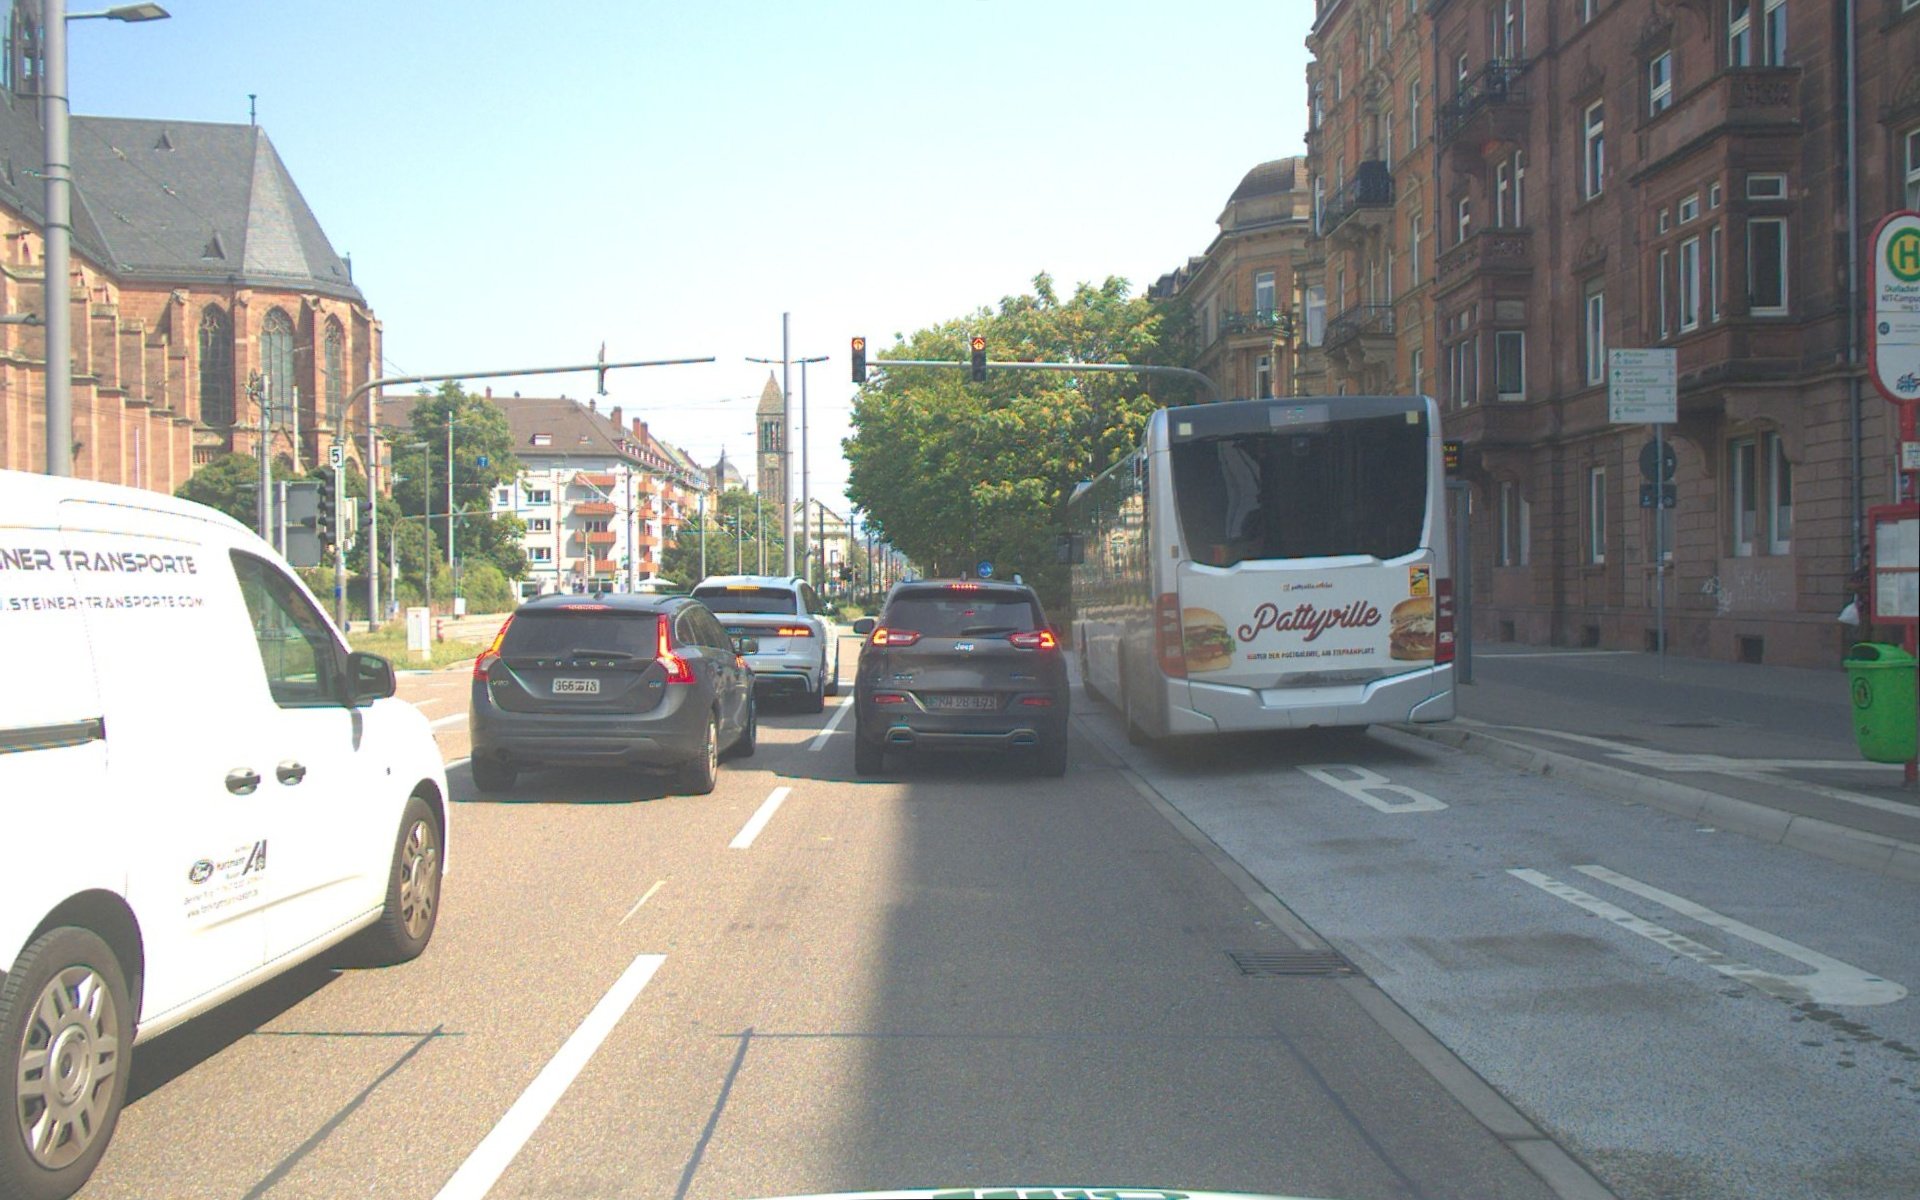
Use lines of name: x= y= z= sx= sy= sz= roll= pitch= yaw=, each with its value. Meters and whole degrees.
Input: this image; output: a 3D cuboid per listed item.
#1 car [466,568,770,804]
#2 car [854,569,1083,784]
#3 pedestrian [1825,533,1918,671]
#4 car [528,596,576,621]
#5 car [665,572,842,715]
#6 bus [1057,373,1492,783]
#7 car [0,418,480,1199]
car: x=-2.646 y=0.592 z=13.748 sx=1.712 sy=1.642 sz=4.307 roll=0 pitch=0 yaw=-1
car: x=0.057 y=0.589 z=15.235 sx=1.795 sy=1.680 sz=4.308 roll=1 pitch=0 yaw=0
pedestrian: x=12.237 y=0.024 z=22.207 sx=0.858 sy=1.809 sz=0.736 roll=-1 pitch=0 yaw=-29
car: x=-25.422 y=0.515 z=103.214 sx=1.710 sy=1.460 sz=4.574 roll=-2 pitch=1 yaw=2
car: x=-2.573 y=0.492 z=21.561 sx=1.864 sy=1.680 sz=4.307 roll=0 pitch=0 yaw=-1
bus: x=2.894 y=-0.196 z=19.336 sx=2.687 sy=3.161 sz=11.955 roll=-3 pitch=0 yaw=0
car: x=-2.966 y=0.524 z=5.286 sx=1.712 sy=1.852 sz=4.238 roll=0 pitch=0 yaw=-1
